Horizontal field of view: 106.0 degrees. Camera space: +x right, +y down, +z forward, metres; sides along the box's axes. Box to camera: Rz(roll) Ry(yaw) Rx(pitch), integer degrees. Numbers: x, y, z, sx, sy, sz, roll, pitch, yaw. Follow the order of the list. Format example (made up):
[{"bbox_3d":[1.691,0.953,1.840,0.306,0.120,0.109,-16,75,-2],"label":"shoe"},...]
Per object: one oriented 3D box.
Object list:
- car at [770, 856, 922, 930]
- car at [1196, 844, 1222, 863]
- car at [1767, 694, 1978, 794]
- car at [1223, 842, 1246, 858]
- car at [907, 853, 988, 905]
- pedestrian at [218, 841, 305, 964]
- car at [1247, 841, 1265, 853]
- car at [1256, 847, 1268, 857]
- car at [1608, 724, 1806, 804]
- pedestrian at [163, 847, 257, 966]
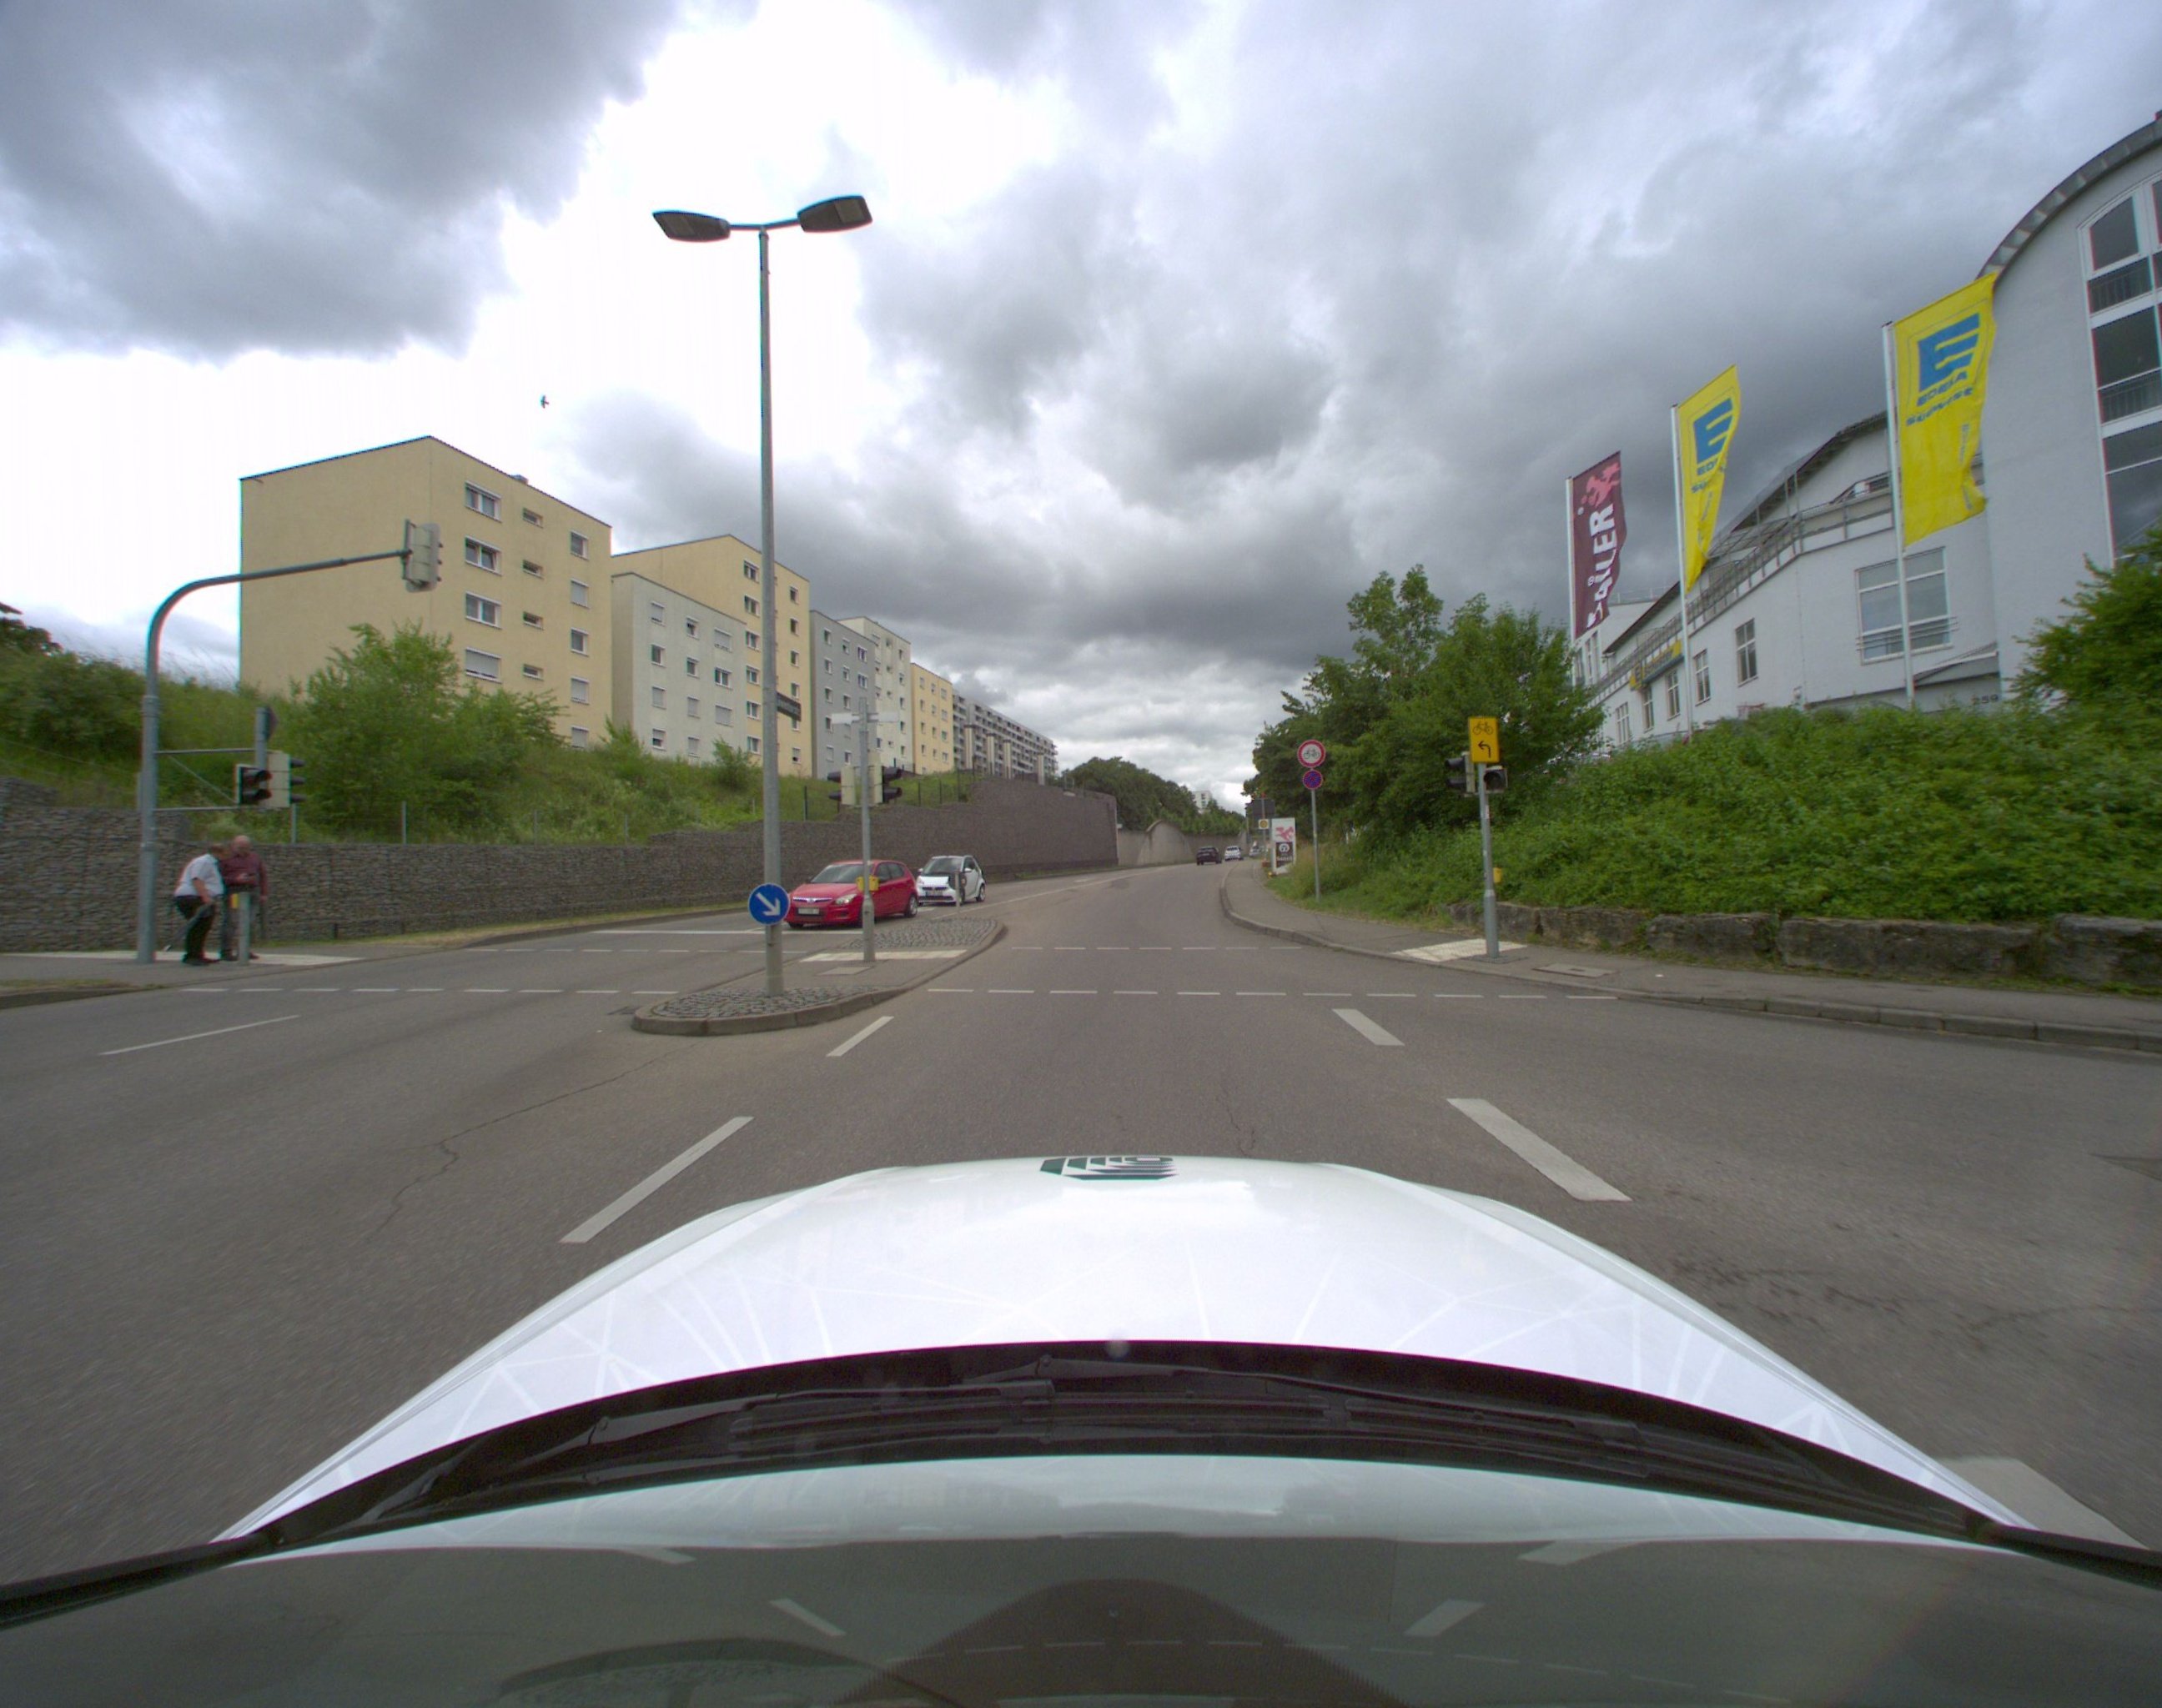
[{"bbox_3d":[-5.290,0.840,18.927,1.743,1.523,4.104,-1,-1,10],"label":"car"},{"bbox_3d":[10.563,-0.015,67.079,1.741,1.523,4.052,-1,-1,15],"label":"car"},{"bbox_3d":[17.085,-2.256,17.553,4.520,1.638,1.815,0,-1,-26],"label":"car"},{"bbox_3d":[15.697,-0.386,83.278,1.740,1.523,4.056,-1,-1,19],"label":"car"},{"bbox_3d":[-4.119,0.742,25.534,1.533,1.523,2.924,-1,0,12],"label":"car"},{"bbox_3d":[-12.529,0.727,12.469,0.619,1.827,0.667,-1,-1,7],"label":"pedestrian"},{"bbox_3d":[23.529,-0.947,109.361,1.852,1.490,4.276,-1,0,18],"label":"car"},{"bbox_3d":[32.459,-0.441,146.007,1.847,1.632,4.227,-4,-1,17],"label":"car"},{"bbox_3d":[15.753,-2.177,20.491,4.513,1.638,1.819,0,-1,-20],"label":"car"},{"bbox_3d":[-12.582,0.745,11.781,0.619,1.679,0.667,-1,-1,7],"label":"pedestrian"}]
